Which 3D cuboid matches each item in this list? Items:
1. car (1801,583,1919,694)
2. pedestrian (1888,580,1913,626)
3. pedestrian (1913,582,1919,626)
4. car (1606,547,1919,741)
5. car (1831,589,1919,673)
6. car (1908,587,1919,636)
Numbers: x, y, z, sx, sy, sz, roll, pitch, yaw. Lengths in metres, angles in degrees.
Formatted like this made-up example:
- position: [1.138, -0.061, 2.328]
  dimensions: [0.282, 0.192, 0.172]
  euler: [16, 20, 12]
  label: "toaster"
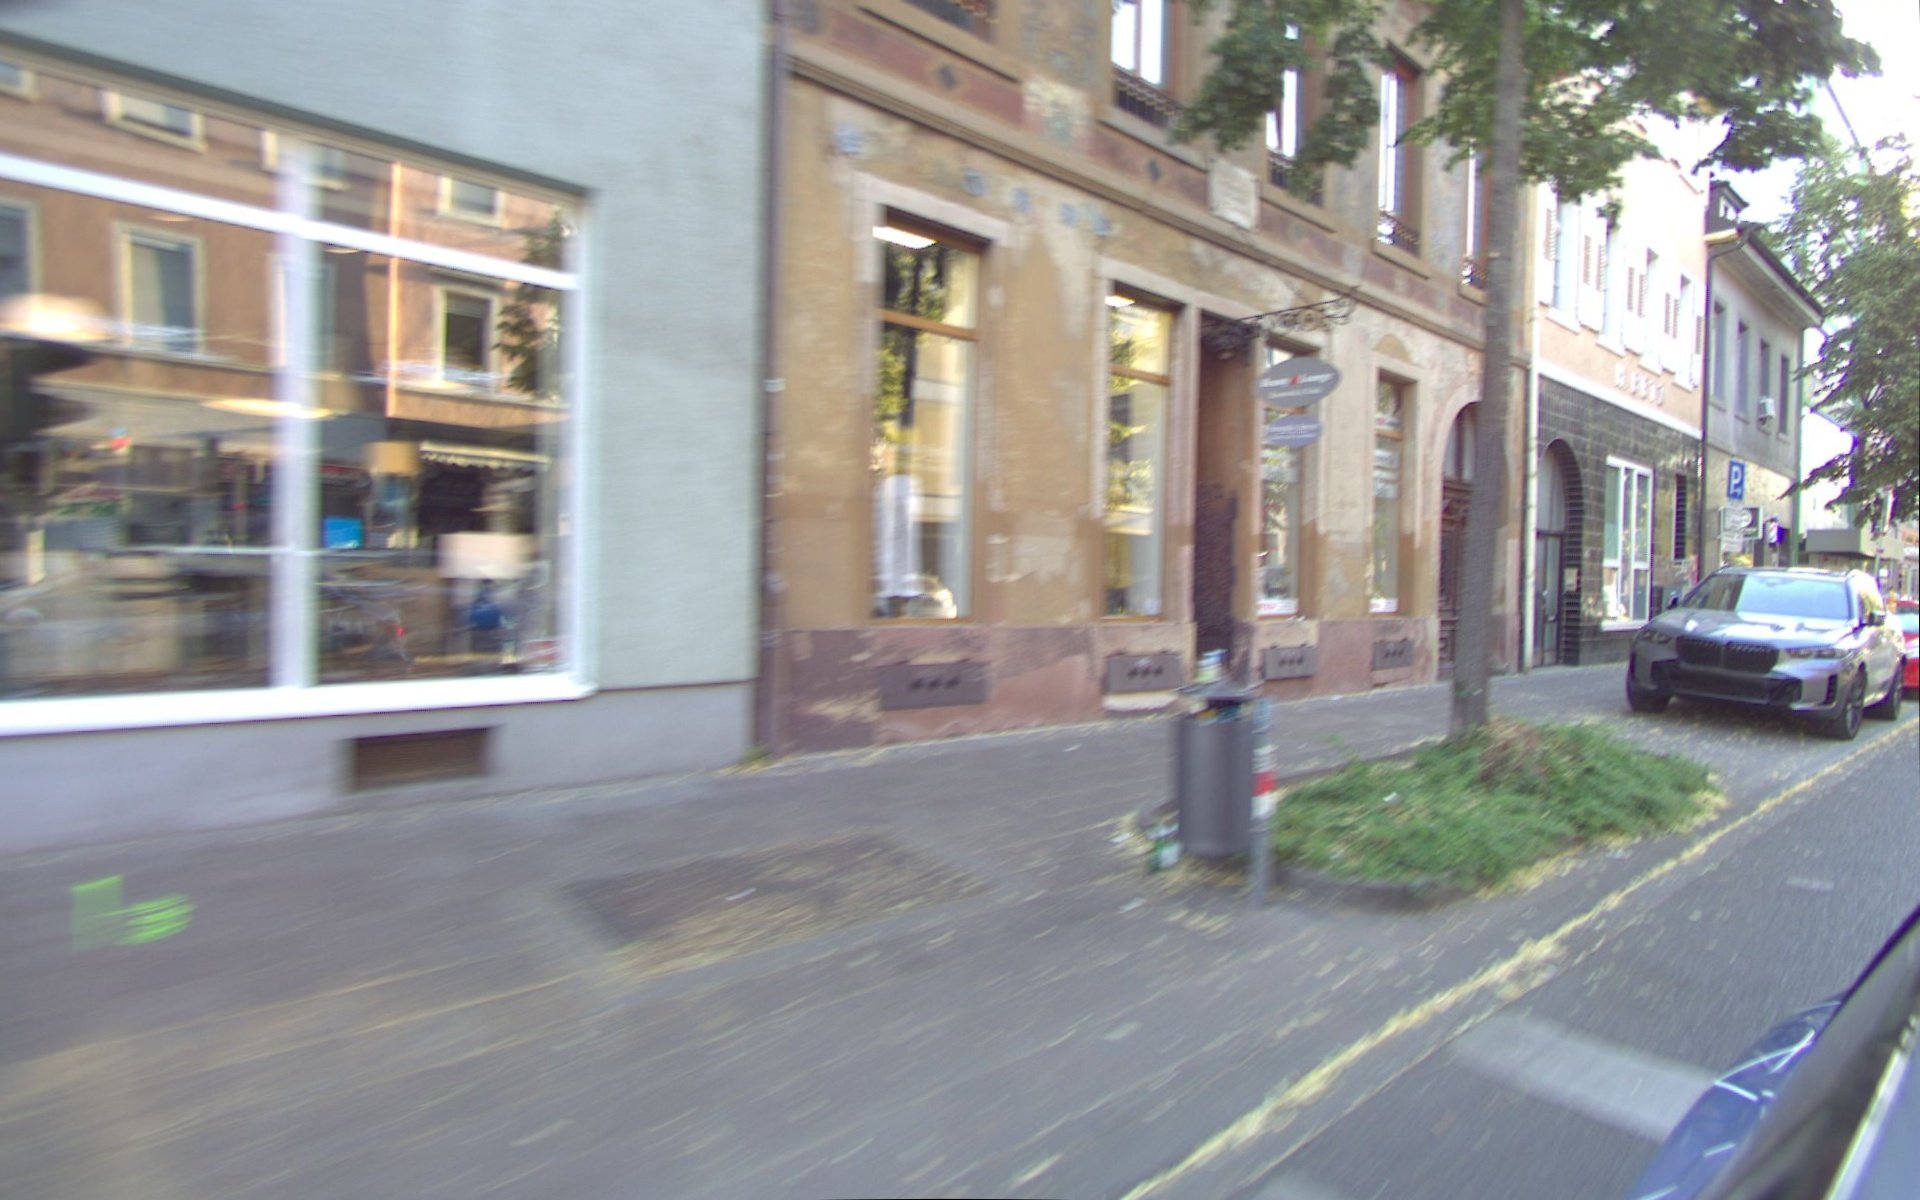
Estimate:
- position: [14.847, 0.553, 16.119]
  dimensions: [3.835, 1.505, 1.732]
  euler: [0, 4, -43]
  label: "car"
- position: [36.083, 0.106, 38.819]
  dimensions: [0.657, 1.760, 0.607]
  euler: [1, 1, -41]
  label: "pedestrian"
- position: [36.754, 0.153, 38.517]
  dimensions: [0.657, 1.652, 0.607]
  euler: [0, 1, -41]
  label: "pedestrian"
- position: [9.554, 0.384, 11.794]
  dimensions: [4.627, 1.758, 2.044]
  euler: [0, 4, -40]
  label: "car"
- position: [18.268, 0.562, 19.359]
  dimensions: [4.351, 1.407, 1.955]
  euler: [0, 4, -43]
  label: "car"
- position: [33.552, 0.492, 33.010]
  dimensions: [3.556, 1.603, 1.666]
  euler: [3, 2, 1]
  label: "car"
